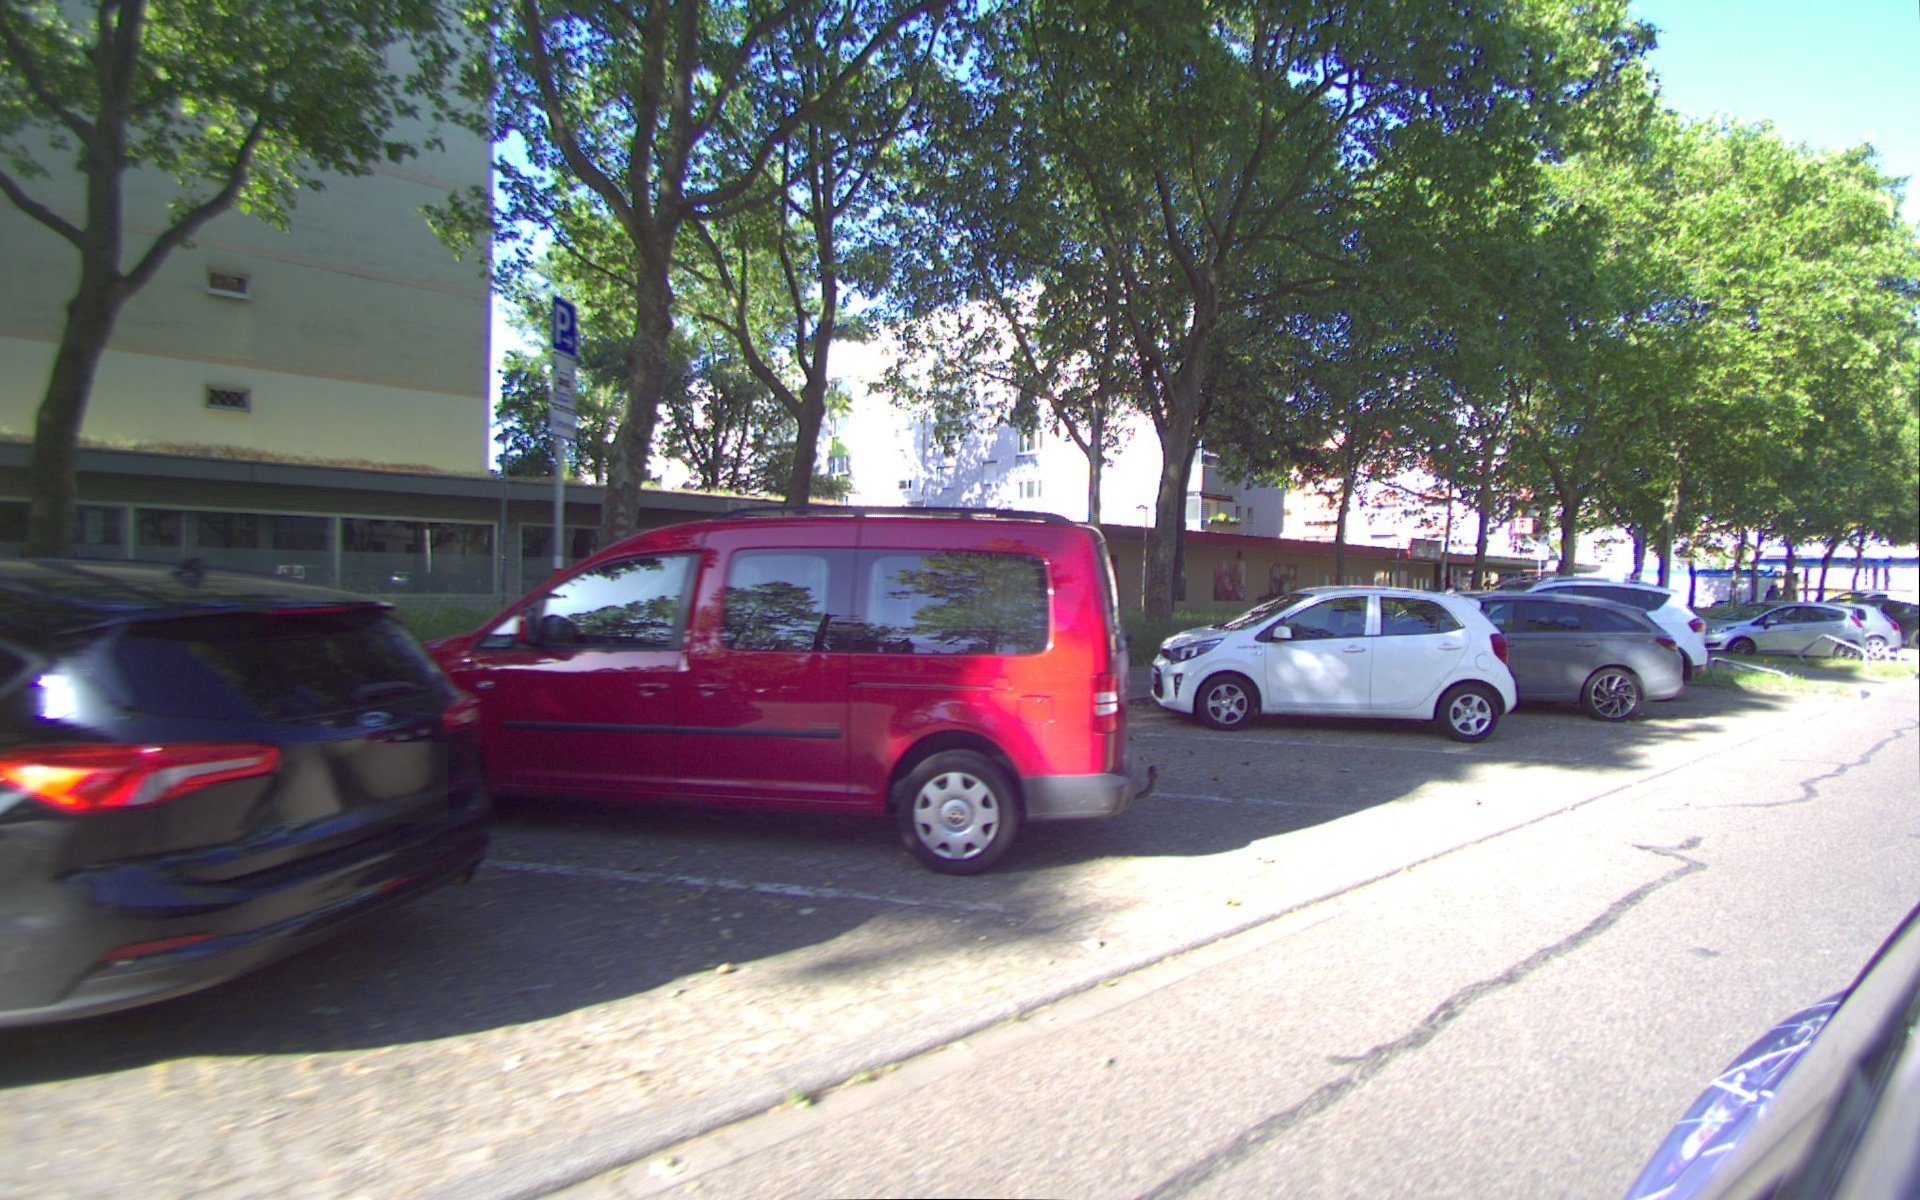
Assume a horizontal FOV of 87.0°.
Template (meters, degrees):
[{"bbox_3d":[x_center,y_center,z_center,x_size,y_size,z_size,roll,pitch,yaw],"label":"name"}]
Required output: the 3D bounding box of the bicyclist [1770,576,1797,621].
[{"bbox_3d":[32.283,-0.065,39.668,1.005,1.762,0.624,0,1,-40],"label":"bicyclist"}]

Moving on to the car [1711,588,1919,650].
[{"bbox_3d":[22.870,0.471,27.042,4.113,1.429,1.718,2,2,7],"label":"car"}]

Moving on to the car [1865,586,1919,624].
[{"bbox_3d":[40.846,0.301,42.349,3.947,1.487,1.750,4,2,19],"label":"car"}]

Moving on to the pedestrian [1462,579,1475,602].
[{"bbox_3d":[32.404,-0.583,64.538,0.531,1.448,0.704,2,0,44],"label":"pedestrian"}]

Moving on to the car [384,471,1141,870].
[{"bbox_3d":[-1.016,0.264,5.959,4.020,1.833,1.647,2,2,10],"label":"car"}]

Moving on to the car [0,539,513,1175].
[{"bbox_3d":[-3.914,0.521,3.699,4.025,1.499,1.644,2,2,14],"label":"car"}]

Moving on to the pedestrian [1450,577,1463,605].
[{"bbox_3d":[31.624,-0.585,64.498,0.495,1.721,0.704,2,0,44],"label":"pedestrian"}]

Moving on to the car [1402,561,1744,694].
[{"bbox_3d":[9.048,0.343,15.283,3.962,1.726,1.757,2,2,9],"label":"car"}]

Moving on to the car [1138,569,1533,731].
[{"bbox_3d":[3.829,0.457,10.822,3.562,1.466,1.650,2,2,4],"label":"car"}]

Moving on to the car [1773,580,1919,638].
[{"bbox_3d":[29.970,0.295,33.485,4.428,1.726,1.757,2,2,9],"label":"car"}]

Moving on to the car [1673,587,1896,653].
[{"bbox_3d":[19.865,0.451,24.513,3.871,1.390,1.585,2,2,7],"label":"car"}]

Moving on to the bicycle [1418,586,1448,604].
[{"bbox_3d":[31.369,-0.308,67.121,1.812,1.194,0.600,0,0,-13],"label":"bicycle"}]

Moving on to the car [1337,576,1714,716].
[{"bbox_3d":[6.926,0.506,12.748,3.722,1.488,1.649,2,2,7],"label":"car"}]

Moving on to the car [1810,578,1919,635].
[{"bbox_3d":[33.462,0.248,35.978,4.596,1.875,1.826,2,2,10],"label":"car"}]
